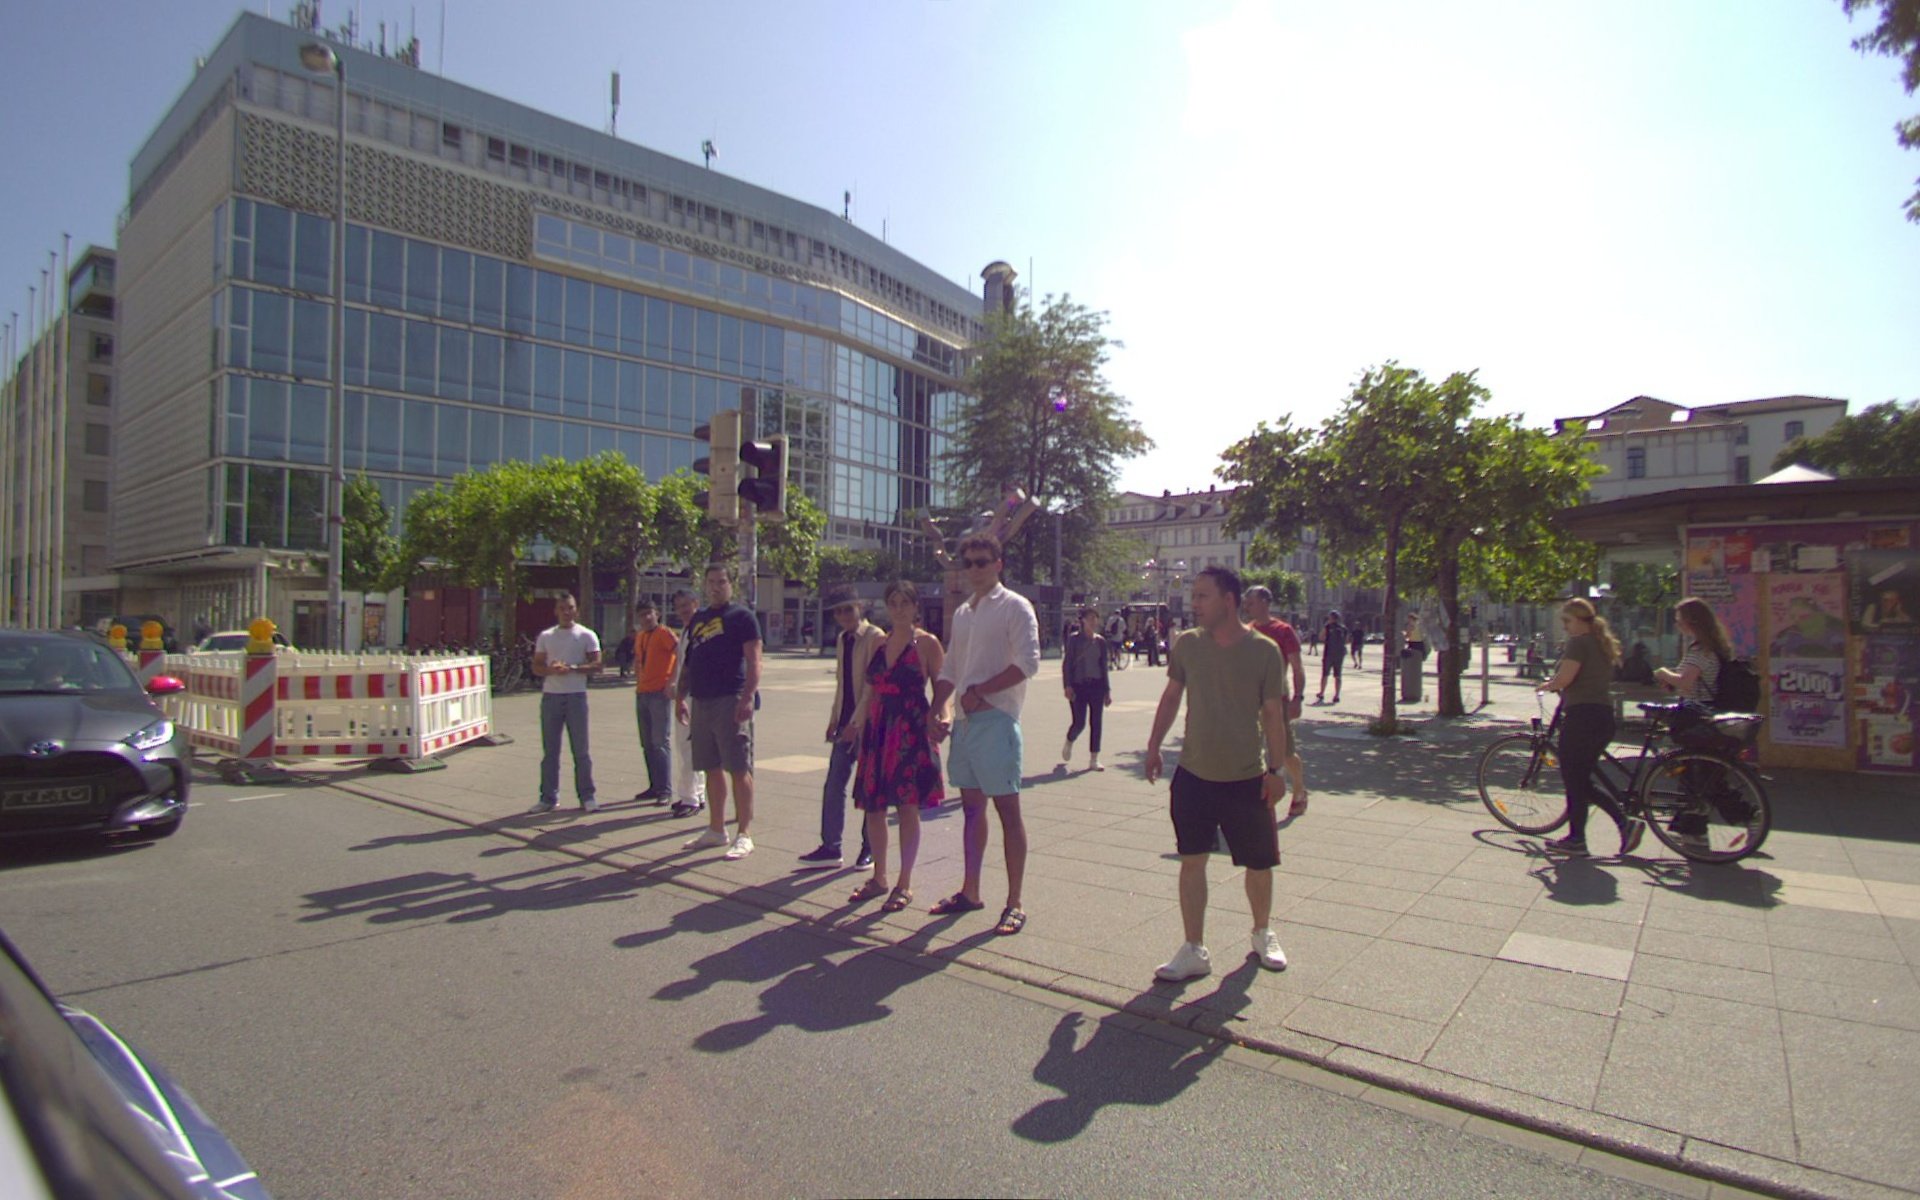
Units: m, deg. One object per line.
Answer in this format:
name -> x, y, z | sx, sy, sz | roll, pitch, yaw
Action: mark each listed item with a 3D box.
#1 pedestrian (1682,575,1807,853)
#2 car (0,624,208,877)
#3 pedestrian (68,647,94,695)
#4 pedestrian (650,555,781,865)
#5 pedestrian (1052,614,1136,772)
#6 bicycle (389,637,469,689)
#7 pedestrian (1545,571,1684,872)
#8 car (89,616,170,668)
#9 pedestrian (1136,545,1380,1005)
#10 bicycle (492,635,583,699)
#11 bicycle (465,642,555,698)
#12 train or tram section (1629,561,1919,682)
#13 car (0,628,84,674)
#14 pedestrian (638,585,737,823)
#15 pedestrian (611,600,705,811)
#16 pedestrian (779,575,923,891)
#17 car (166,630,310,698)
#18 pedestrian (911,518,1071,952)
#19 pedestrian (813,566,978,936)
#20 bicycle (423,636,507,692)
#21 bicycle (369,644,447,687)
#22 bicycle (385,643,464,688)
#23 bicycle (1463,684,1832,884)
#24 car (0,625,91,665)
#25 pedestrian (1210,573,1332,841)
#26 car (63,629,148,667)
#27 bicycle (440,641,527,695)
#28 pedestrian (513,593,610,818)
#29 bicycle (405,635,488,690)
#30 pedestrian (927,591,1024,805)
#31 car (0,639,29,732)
pedestrian -> 5.189, 0.711, 6.703 | 0.605, 1.724, 0.570 | -1, -1, 39
car -> -7.121, 0.932, 7.418 | 4.106, 1.489, 1.843 | -2, -3, 43
pedestrian -> -33.781, 2.722, 38.907 | 0.524, 1.806, 0.540 | 0, -2, -10
pedestrian -> -1.609, 0.679, 6.650 | 0.653, 1.905, 0.570 | -1, -1, 43
pedestrian -> 1.374, 0.925, 10.400 | 0.569, 1.544, 0.607 | -1, 0, -43
bicycle -> -13.877, 1.627, 26.486 | 0.562, 1.319, 1.765 | -2, -2, 38
pedestrian -> 4.174, 0.730, 6.458 | 0.569, 1.793, 0.607 | 0, -1, -43
car -> -34.276, 1.712, 41.735 | 4.683, 2.029, 1.813 | -2, -3, 41
pedestrian -> 1.261, 0.677, 4.322 | 0.789, 1.735, 0.578 | -3, -4, 43
bicycle -> -9.535, 1.487, 22.909 | 0.740, 1.358, 1.765 | -2, -1, 38
bicycle -> -10.274, 1.580, 23.155 | 0.662, 1.194, 1.765 | -2, -2, 38
train or tram section -> 29.720, 0.813, 35.936 | 2.577, 3.705, 11.031 | 0, -2, -14
car -> -34.460, 1.889, 37.923 | 4.706, 1.612, 1.743 | -2, -3, 40
pedestrian -> -2.173, 0.789, 8.057 | 0.533, 1.793, 0.607 | 0, -1, -43
pedestrian -> -2.577, 0.874, 8.663 | 0.599, 1.731, 0.539 | -1, -1, 10
pedestrian -> -0.655, 0.745, 6.085 | 0.653, 1.760, 0.570 | -1, -1, 43
car -> -18.224, 1.564, 25.807 | 1.864, 1.553, 4.877 | 0, -2, -22
pedestrian -> 0.153, 0.608, 4.912 | 0.560, 1.934, 0.526 | -1, -2, 43
pedestrian -> -0.335, 0.734, 5.299 | 0.638, 1.771, 0.570 | -1, -2, 43
bicycle -> -12.215, 1.564, 25.014 | 0.662, 1.319, 1.765 | -2, -2, 38
bicycle -> -14.852, 1.745, 27.278 | 0.562, 1.114, 1.765 | -2, -2, 38
bicycle -> -14.234, 1.734, 26.942 | 0.562, 1.141, 1.765 | -2, -2, 38
bicycle -> 4.398, 1.114, 6.651 | 0.483, 1.037, 1.938 | 2, -3, -37
car -> -46.512, 2.237, 50.433 | 4.372, 1.924, 2.014 | 0, -3, -13
pedestrian -> 2.336, 0.761, 7.609 | 0.663, 1.894, 0.623 | -1, -1, 41
car -> -38.434, 2.128, 45.506 | 4.392, 1.623, 1.975 | -1, -2, 36
bicycle -> -11.272, 1.588, 23.980 | 0.662, 1.224, 1.765 | -2, -2, 38
pedestrian -> -3.202, 0.825, 8.155 | 0.599, 1.753, 0.429 | -1, -1, 10
bicycle -> -12.961, 1.549, 25.577 | 0.662, 1.319, 1.765 | -2, -2, 38
pedestrian -> 0.131, 0.808, 8.700 | 0.569, 1.752, 0.607 | 0, -1, -43
car -> -16.700, 1.350, 16.641 | 4.106, 1.408, 1.710 | -2, -3, 43
